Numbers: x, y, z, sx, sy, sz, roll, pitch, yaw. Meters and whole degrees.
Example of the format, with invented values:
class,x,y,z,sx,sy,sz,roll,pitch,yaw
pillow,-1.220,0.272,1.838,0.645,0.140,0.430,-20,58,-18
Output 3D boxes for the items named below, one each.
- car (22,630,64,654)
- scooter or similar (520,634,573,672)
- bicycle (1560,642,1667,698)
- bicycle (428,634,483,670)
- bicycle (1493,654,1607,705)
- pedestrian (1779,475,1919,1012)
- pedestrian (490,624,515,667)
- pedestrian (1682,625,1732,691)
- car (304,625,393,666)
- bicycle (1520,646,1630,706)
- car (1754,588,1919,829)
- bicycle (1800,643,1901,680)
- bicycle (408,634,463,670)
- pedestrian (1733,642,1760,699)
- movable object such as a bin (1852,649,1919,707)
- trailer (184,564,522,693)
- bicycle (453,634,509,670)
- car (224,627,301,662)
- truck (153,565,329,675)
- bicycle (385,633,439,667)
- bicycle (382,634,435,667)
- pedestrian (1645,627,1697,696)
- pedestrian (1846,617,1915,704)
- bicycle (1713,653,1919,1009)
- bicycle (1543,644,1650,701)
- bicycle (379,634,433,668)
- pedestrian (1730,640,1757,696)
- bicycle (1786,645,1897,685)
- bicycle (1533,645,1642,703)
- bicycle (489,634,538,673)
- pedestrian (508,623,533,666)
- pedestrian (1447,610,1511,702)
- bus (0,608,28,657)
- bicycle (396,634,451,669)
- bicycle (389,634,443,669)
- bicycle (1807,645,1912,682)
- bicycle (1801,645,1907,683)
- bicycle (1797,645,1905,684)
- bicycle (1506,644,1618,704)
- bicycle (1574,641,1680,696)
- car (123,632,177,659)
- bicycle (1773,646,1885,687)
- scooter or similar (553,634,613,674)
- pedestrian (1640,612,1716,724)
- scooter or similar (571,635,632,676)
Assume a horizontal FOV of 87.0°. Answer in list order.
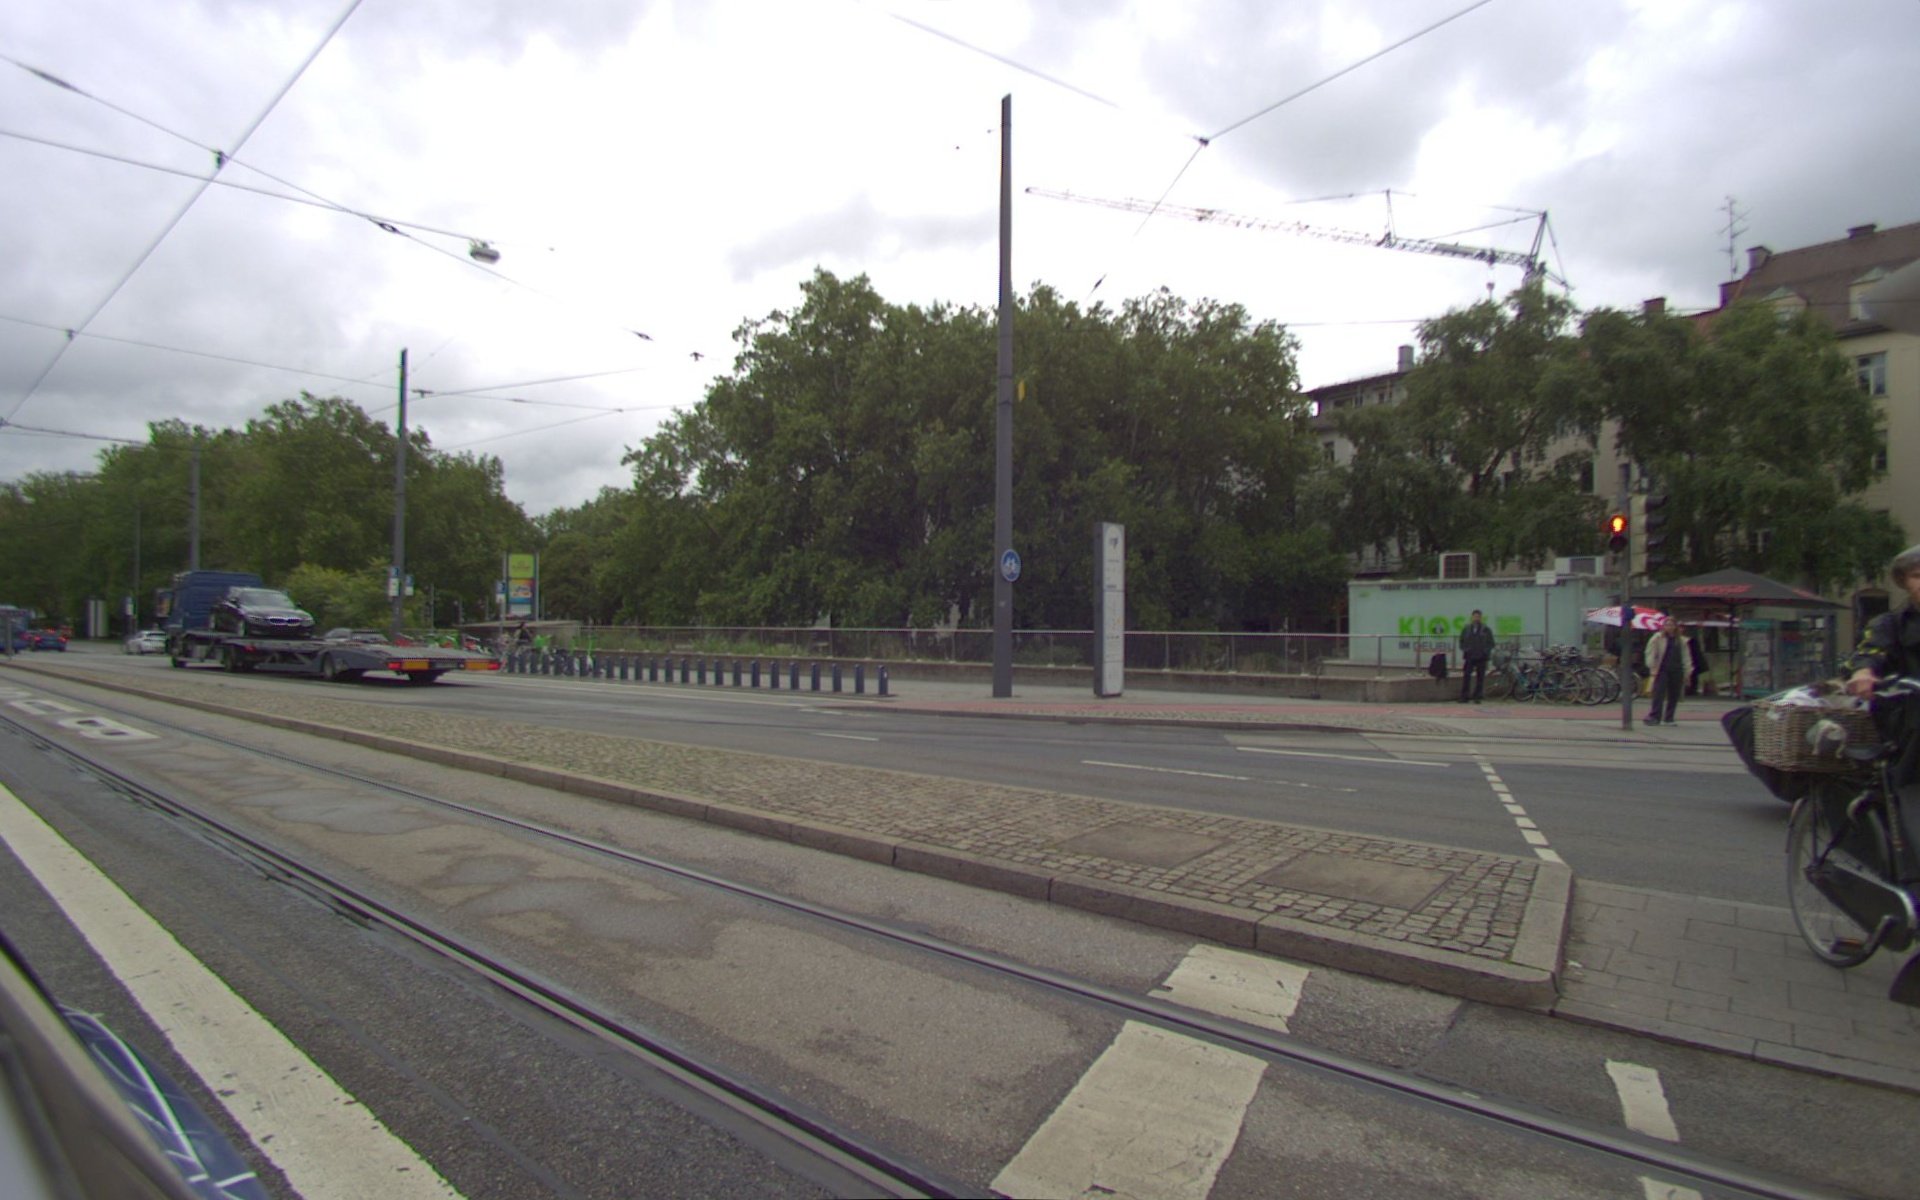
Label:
class,x,y,z,sx,sy,sz,roll,pitch,yaw
car,-66.598,3.036,73.469,3.998,1.655,1.786,-1,-2,41
scooter or similar,-13.200,1.681,32.374,0.558,1.181,1.681,-1,-2,22
bicycle,13.866,1.462,21.535,0.472,1.104,1.854,1,-2,-35
bicycle,-17.332,1.772,34.809,0.560,1.181,1.675,-1,-2,31
bicycle,11.399,1.518,19.611,0.473,0.901,1.852,1,-2,-41
pedestrian,3.645,0.488,3.642,0.847,1.825,0.899,0,0,-37
pedestrian,-16.880,1.684,37.301,0.588,1.570,0.624,-1,-3,40
pedestrian,18.630,1.429,25.242,0.728,1.612,0.799,1,-2,-34
car,-24.545,1.797,40.571,4.230,1.537,1.840,-1,-3,41
bicycle,12.323,1.507,20.343,0.472,1.104,1.854,1,-2,-35
car,8.287,0.769,6.743,4.673,1.651,1.844,-1,-4,40
bicycle,29.939,2.044,34.065,2.523,1.138,0.635,-1,-2,42
bicycle,-18.162,1.791,35.102,0.504,1.181,1.675,-1,-2,31
pedestrian,18.049,1.607,23.224,0.405,1.279,0.431,1,-2,-44
movable object such as a bin,18.688,1.554,20.388,0.956,1.092,1.320,-1,-2,37
trailer,-16.982,0.780,27.226,15.623,2.703,2.584,-1,-4,39
bicycle,-16.228,1.747,34.310,0.560,1.181,1.675,-1,-2,31
car,-32.381,2.033,46.970,4.099,1.582,1.973,-1,-2,41
truck,-22.912,0.675,32.079,7.683,3.111,2.540,-1,-4,39
bicycle,-20.150,1.830,37.223,0.505,1.181,1.672,-1,-2,37
bicycle,-20.504,1.848,37.649,0.561,1.181,1.672,-1,-2,38
pedestrian,17.218,1.469,24.514,0.728,1.612,0.799,1,-2,-34
pedestrian,19.385,1.244,21.333,0.956,1.776,1.019,-1,-2,38
bicycle,3.548,0.824,3.492,0.500,1.159,2.226,0,0,8
bicycle,13.252,1.479,21.124,0.472,1.104,1.854,1,-2,-35
bicycle,-19.935,1.829,36.433,0.504,1.181,1.674,-1,-2,34
pedestrian,18.397,1.596,23.760,0.405,1.279,0.431,1,-2,-44
bicycle,26.962,1.976,31.009,2.523,1.138,0.635,-1,-2,42
bicycle,12.851,1.491,20.794,0.472,1.104,1.854,1,-2,-35
bicycle,-14.385,1.709,32.653,0.556,1.181,1.687,0,-2,11
pedestrian,-16.533,1.673,38.086,0.588,1.570,0.624,-1,-3,40
pedestrian,10.014,1.057,19.541,0.725,1.729,0.862,1,-2,-38
bus,-63.990,2.082,66.241,13.404,2.989,2.599,-1,-3,40
bicycle,-18.900,1.807,35.673,0.560,1.181,1.675,-1,-2,31
bicycle,-19.360,1.816,36.034,0.504,1.181,1.674,-1,-2,33
bicycle,29.395,2.067,33.128,2.523,1.138,0.635,-1,-2,42
bicycle,28.605,2.020,32.431,2.523,1.138,0.635,-1,-2,42
bicycle,28.029,1.998,31.885,2.523,1.138,0.635,-1,-2,42
bicycle,11.831,1.434,19.947,0.472,1.104,1.853,1,-2,-38
bicycle,14.363,1.448,21.827,0.472,1.104,1.854,1,-2,-35
car,-48.478,2.700,60.537,3.998,1.542,1.868,-1,-2,41
bicycle,26.178,1.975,30.524,2.523,1.138,0.635,-1,-2,42
scooter or similar,-11.532,1.647,30.973,0.561,1.181,1.671,-1,-2,38
pedestrian,10.872,1.007,15.341,0.737,1.641,0.734,-1,-2,20
scooter or similar,-10.679,1.630,30.150,0.561,1.181,1.671,-1,-2,38
